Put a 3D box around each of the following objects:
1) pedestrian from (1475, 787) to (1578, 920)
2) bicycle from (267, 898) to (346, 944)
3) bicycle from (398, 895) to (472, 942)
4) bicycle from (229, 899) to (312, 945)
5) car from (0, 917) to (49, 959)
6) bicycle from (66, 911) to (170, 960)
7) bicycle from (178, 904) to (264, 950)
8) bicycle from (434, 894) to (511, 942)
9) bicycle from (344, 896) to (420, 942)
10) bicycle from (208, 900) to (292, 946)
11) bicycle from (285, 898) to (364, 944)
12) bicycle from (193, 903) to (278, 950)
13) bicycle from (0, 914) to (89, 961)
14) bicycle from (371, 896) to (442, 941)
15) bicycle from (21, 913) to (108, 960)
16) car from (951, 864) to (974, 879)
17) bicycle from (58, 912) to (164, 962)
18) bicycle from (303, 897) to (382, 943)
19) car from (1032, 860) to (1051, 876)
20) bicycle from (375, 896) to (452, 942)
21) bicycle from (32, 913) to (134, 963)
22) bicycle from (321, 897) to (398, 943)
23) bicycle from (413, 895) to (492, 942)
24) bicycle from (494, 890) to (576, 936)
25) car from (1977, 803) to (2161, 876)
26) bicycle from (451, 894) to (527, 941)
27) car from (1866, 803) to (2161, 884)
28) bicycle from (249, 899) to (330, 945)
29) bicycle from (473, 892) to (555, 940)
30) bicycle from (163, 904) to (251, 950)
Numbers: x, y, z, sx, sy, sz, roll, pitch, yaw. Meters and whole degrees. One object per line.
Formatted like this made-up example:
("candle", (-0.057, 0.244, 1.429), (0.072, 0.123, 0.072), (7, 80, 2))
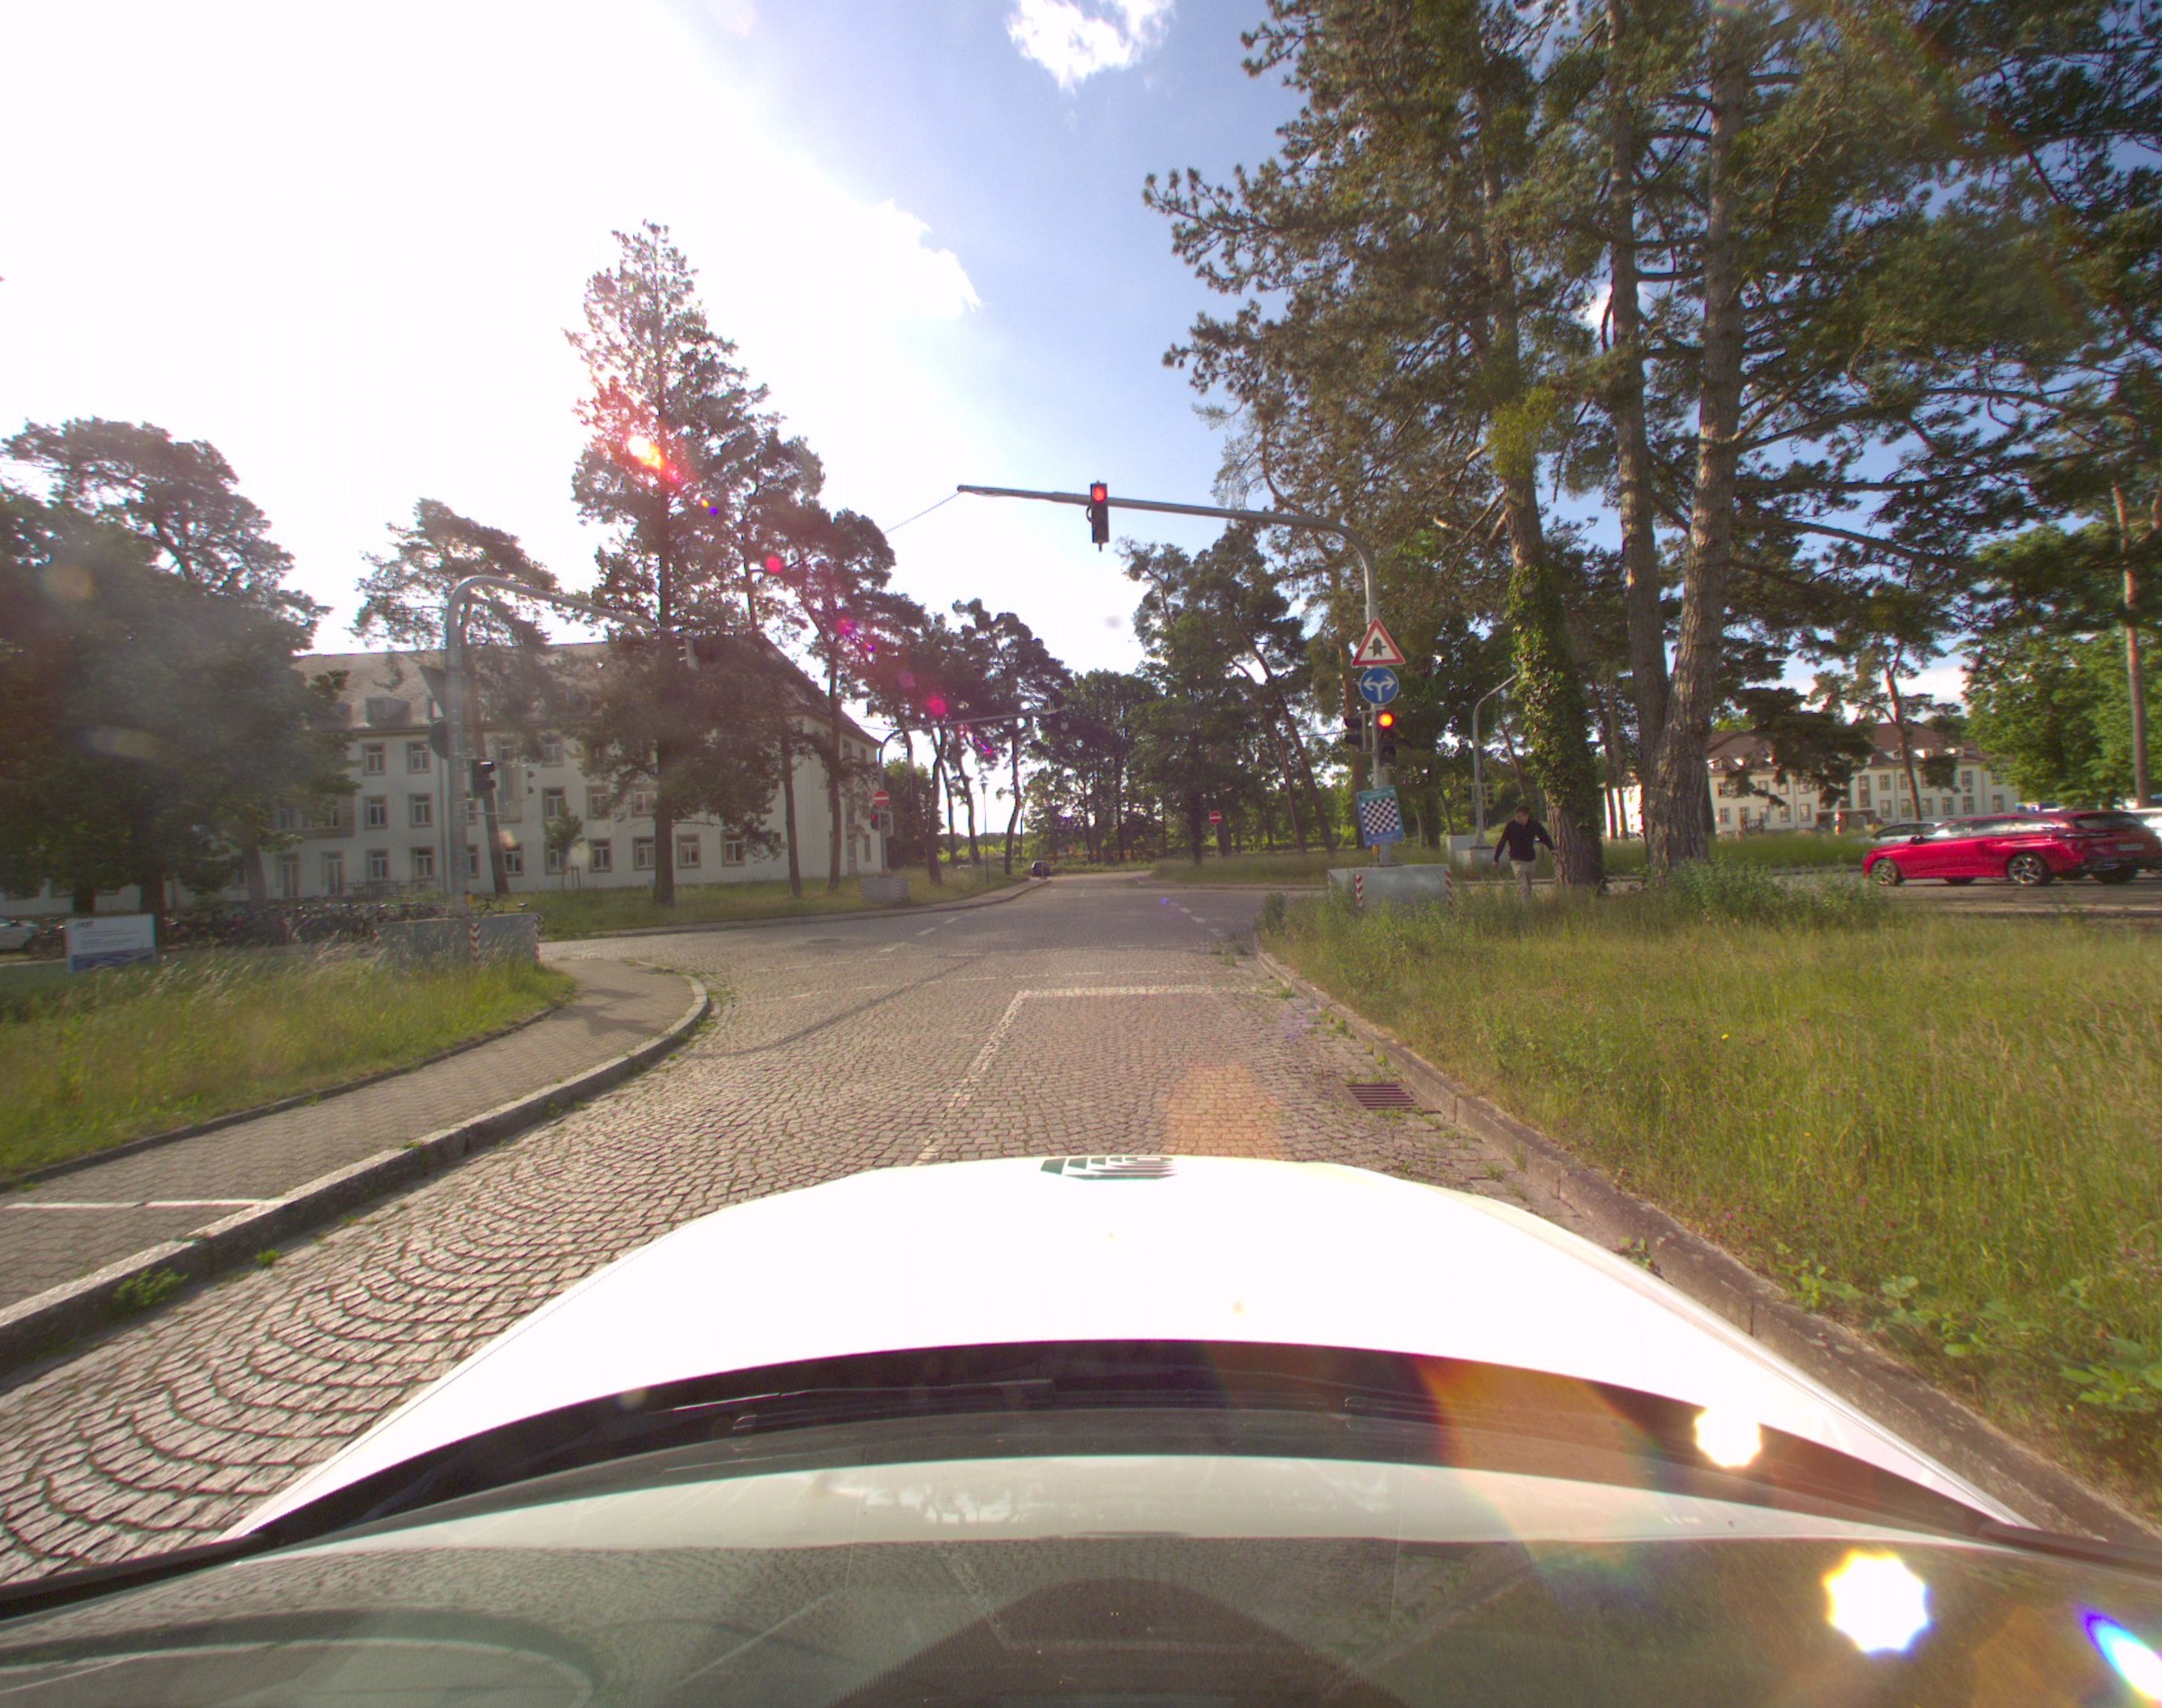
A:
("pedestrian", (6.447, 0.000, 11.867), (1.157, 1.796, 1.069), (-3, 0, 24))
("bicycle", (-23.562, 2.029, 24.823), (0.512, 1.220, 1.937), (-3, 0, 1))
("bicycle", (-19.487, 1.917, 24.608), (0.570, 1.220, 1.990), (-3, 0, 1))
("bicycle", (-24.699, 2.062, 24.868), (0.512, 1.220, 1.937), (-3, 0, 1))
("car", (-34.090, 2.667, 24.438), (1.504, 1.211, 3.596), (-3, 0, 3))
("bicycle", (-28.004, 2.355, 23.722), (1.837, 1.220, 0.510), (-3, 0, -35))
("bicycle", (-26.198, 2.197, 24.863), (0.512, 1.220, 1.937), (-3, 0, 1))
("bicycle", (-18.035, 1.874, 24.211), (0.631, 1.220, 2.124), (-3, 0, 1))
("bicycle", (-21.315, 1.971, 24.891), (0.512, 1.220, 2.016), (-3, 0, 1))
("bicycle", (-25.310, 2.080, 24.858), (0.512, 1.220, 1.937), (-3, 0, 1))
("bicycle", (-23.007, 2.013, 24.811), (0.512, 1.220, 1.954), (-3, 0, 1))
("bicycle", (-25.769, 2.184, 24.862), (0.512, 1.220, 1.937), (-3, 0, 1))
("bicycle", (-31.057, 2.476, 24.419), (0.513, 1.220, 1.824), (-3, 0, -7))
("bicycle", (-20.797, 1.956, 25.164), (0.546, 1.220, 1.900), (-3, 0, 1))
("bicycle", (-30.451, 2.458, 24.434), (0.514, 1.220, 1.823), (-3, 0, -9))
("car", (-11.799, 1.724, 81.518), (1.705, 1.274, 3.917), (-3, 0, -1))
("bicycle", (-27.614, 2.348, 23.213), (1.837, 1.220, 0.510), (-3, 0, -35))
("bicycle", (-22.481, 2.001, 24.842), (0.512, 1.220, 1.977), (-3, 0, 1))
("car", (-3.914, 1.389, 80.685), (1.705, 1.496, 3.917), (-3, 0, -1))
("bicycle", (-20.232, 1.941, 24.740), (0.576, 1.220, 2.029), (-3, 0, 1))
("bicycle", (-29.114, 2.427, 23.782), (0.509, 1.220, 1.841), (-3, 0, 38))
("bicycle", (-21.963, 1.990, 24.846), (0.512, 1.220, 1.977), (-3, 0, 1))
("bicycle", (-18.639, 1.891, 24.220), (0.631, 1.220, 2.104), (-3, 0, 1))
("bicycle", (-16.194, 1.754, 24.168), (1.938, 1.220, 0.635), (-3, 0, 0))
("car", (21.665, -0.300, 16.732), (1.773, 1.379, 4.239), (-3, -2, 0))
("bicycle", (-17.552, 1.859, 24.218), (0.631, 1.220, 2.114), (-3, 0, 1))
("car", (18.786, -0.151, 16.584), (1.649, 1.399, 4.130), (-2, -1, 1))
("bicycle", (-24.107, 2.045, 24.847), (0.512, 1.220, 1.937), (-3, 0, 1))
("bicycle", (-16.310, 1.776, 23.454), (1.855, 1.220, 0.635), (-3, 0, 0))
("bicycle", (-26.646, 2.210, 24.872), (0.512, 1.220, 1.937), (-3, 0, 1))
